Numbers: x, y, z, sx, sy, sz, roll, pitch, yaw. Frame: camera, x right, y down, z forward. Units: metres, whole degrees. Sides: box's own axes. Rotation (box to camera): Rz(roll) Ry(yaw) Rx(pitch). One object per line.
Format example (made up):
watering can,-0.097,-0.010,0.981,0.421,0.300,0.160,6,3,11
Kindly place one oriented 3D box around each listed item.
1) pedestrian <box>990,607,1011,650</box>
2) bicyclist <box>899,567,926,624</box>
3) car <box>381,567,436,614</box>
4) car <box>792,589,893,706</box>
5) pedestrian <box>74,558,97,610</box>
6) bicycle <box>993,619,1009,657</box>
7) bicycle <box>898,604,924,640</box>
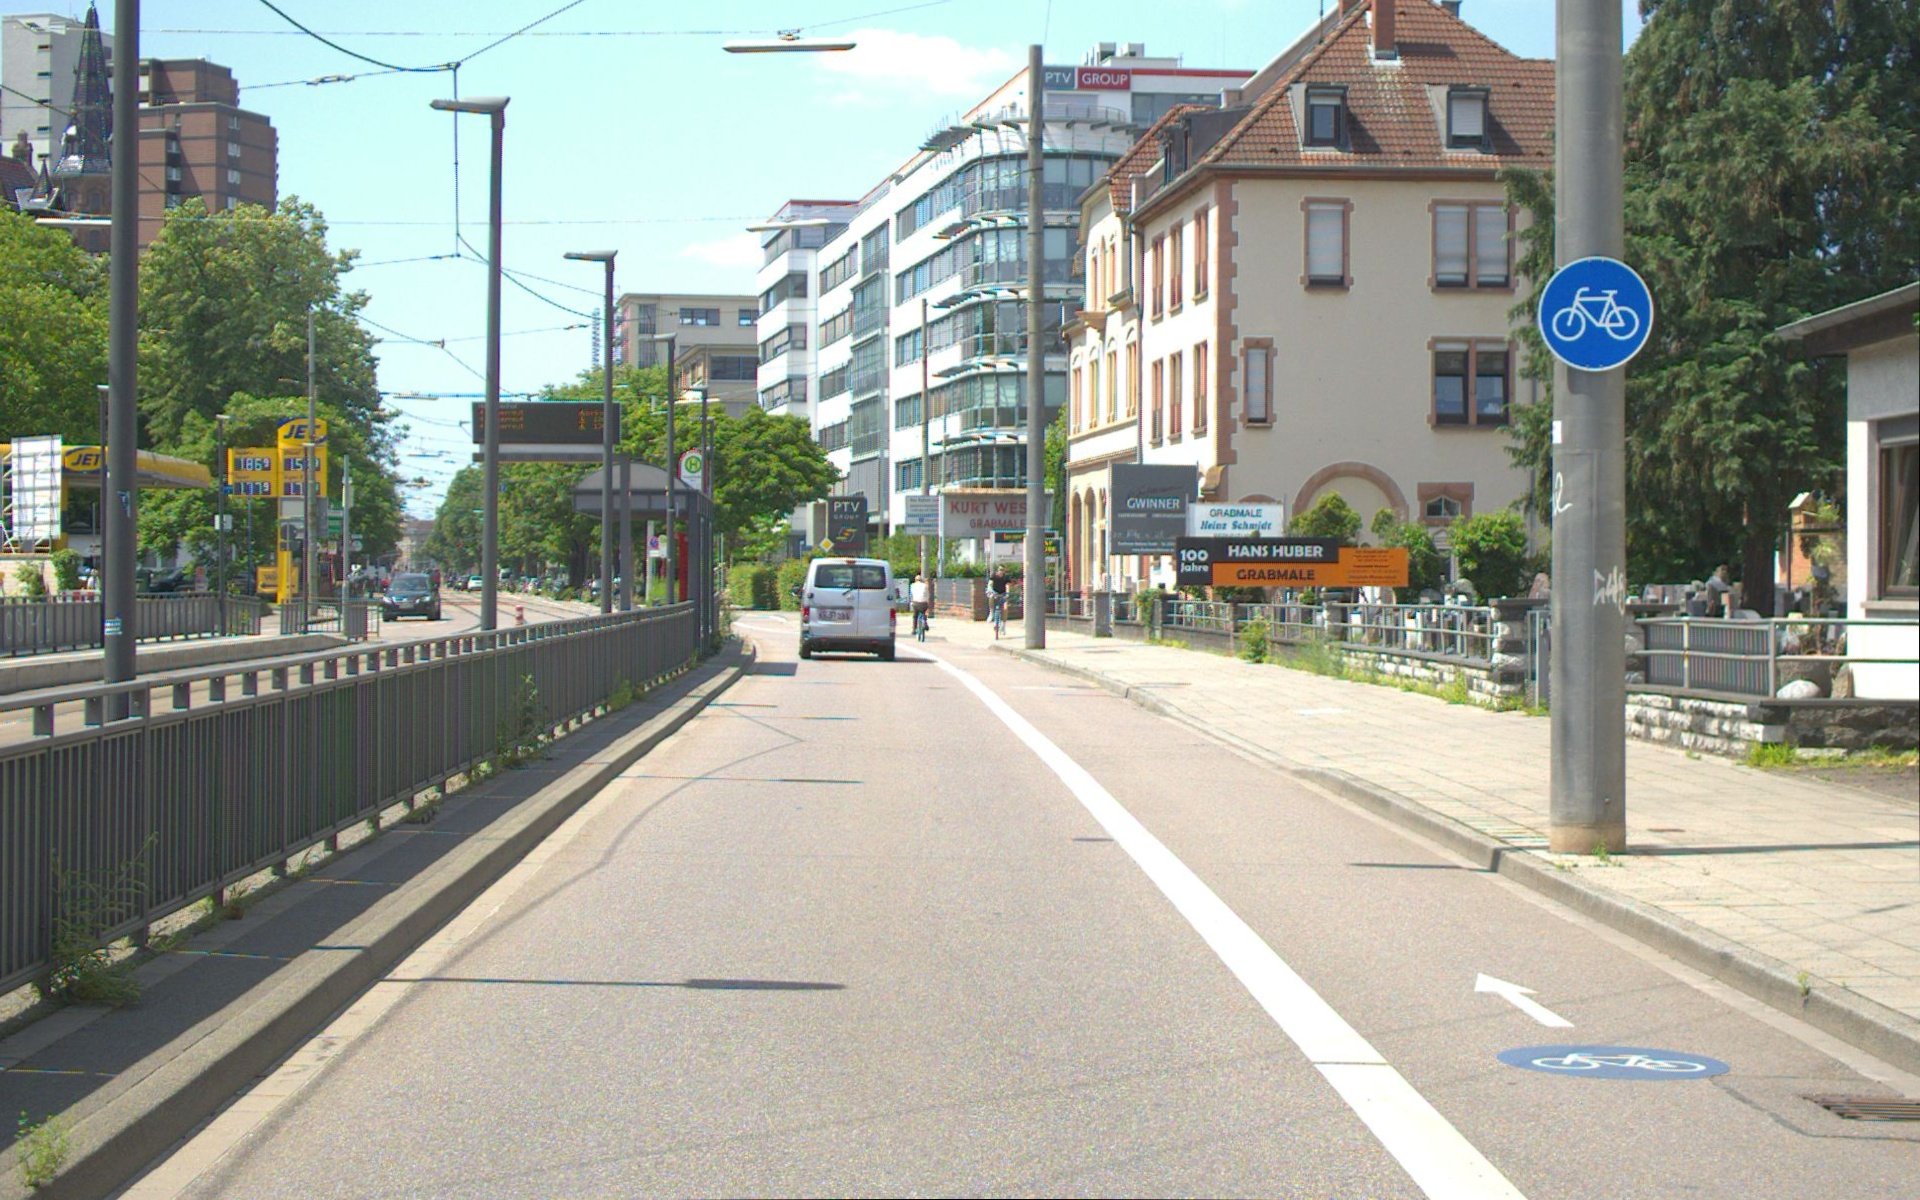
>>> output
pedestrian,1.016,0.712,86.276,0.483,1.050,0.537,-1,-1,-1
bicyclist,-1.180,-0.119,85.262,0.591,1.392,0.842,1,0,-6
car,-19.630,-0.333,122.542,1.698,1.610,3.759,1,0,-6
car,-2.175,0.835,62.836,1.752,2.007,4.001,-1,1,-3
pedestrian,-28.182,-0.514,110.832,0.552,1.652,0.672,1,0,-2
bicycle,1.030,0.966,86.233,0.356,0.937,1.317,-1,-1,-1
bicycle,-1.215,0.543,85.435,0.465,0.884,2.048,1,0,-6
